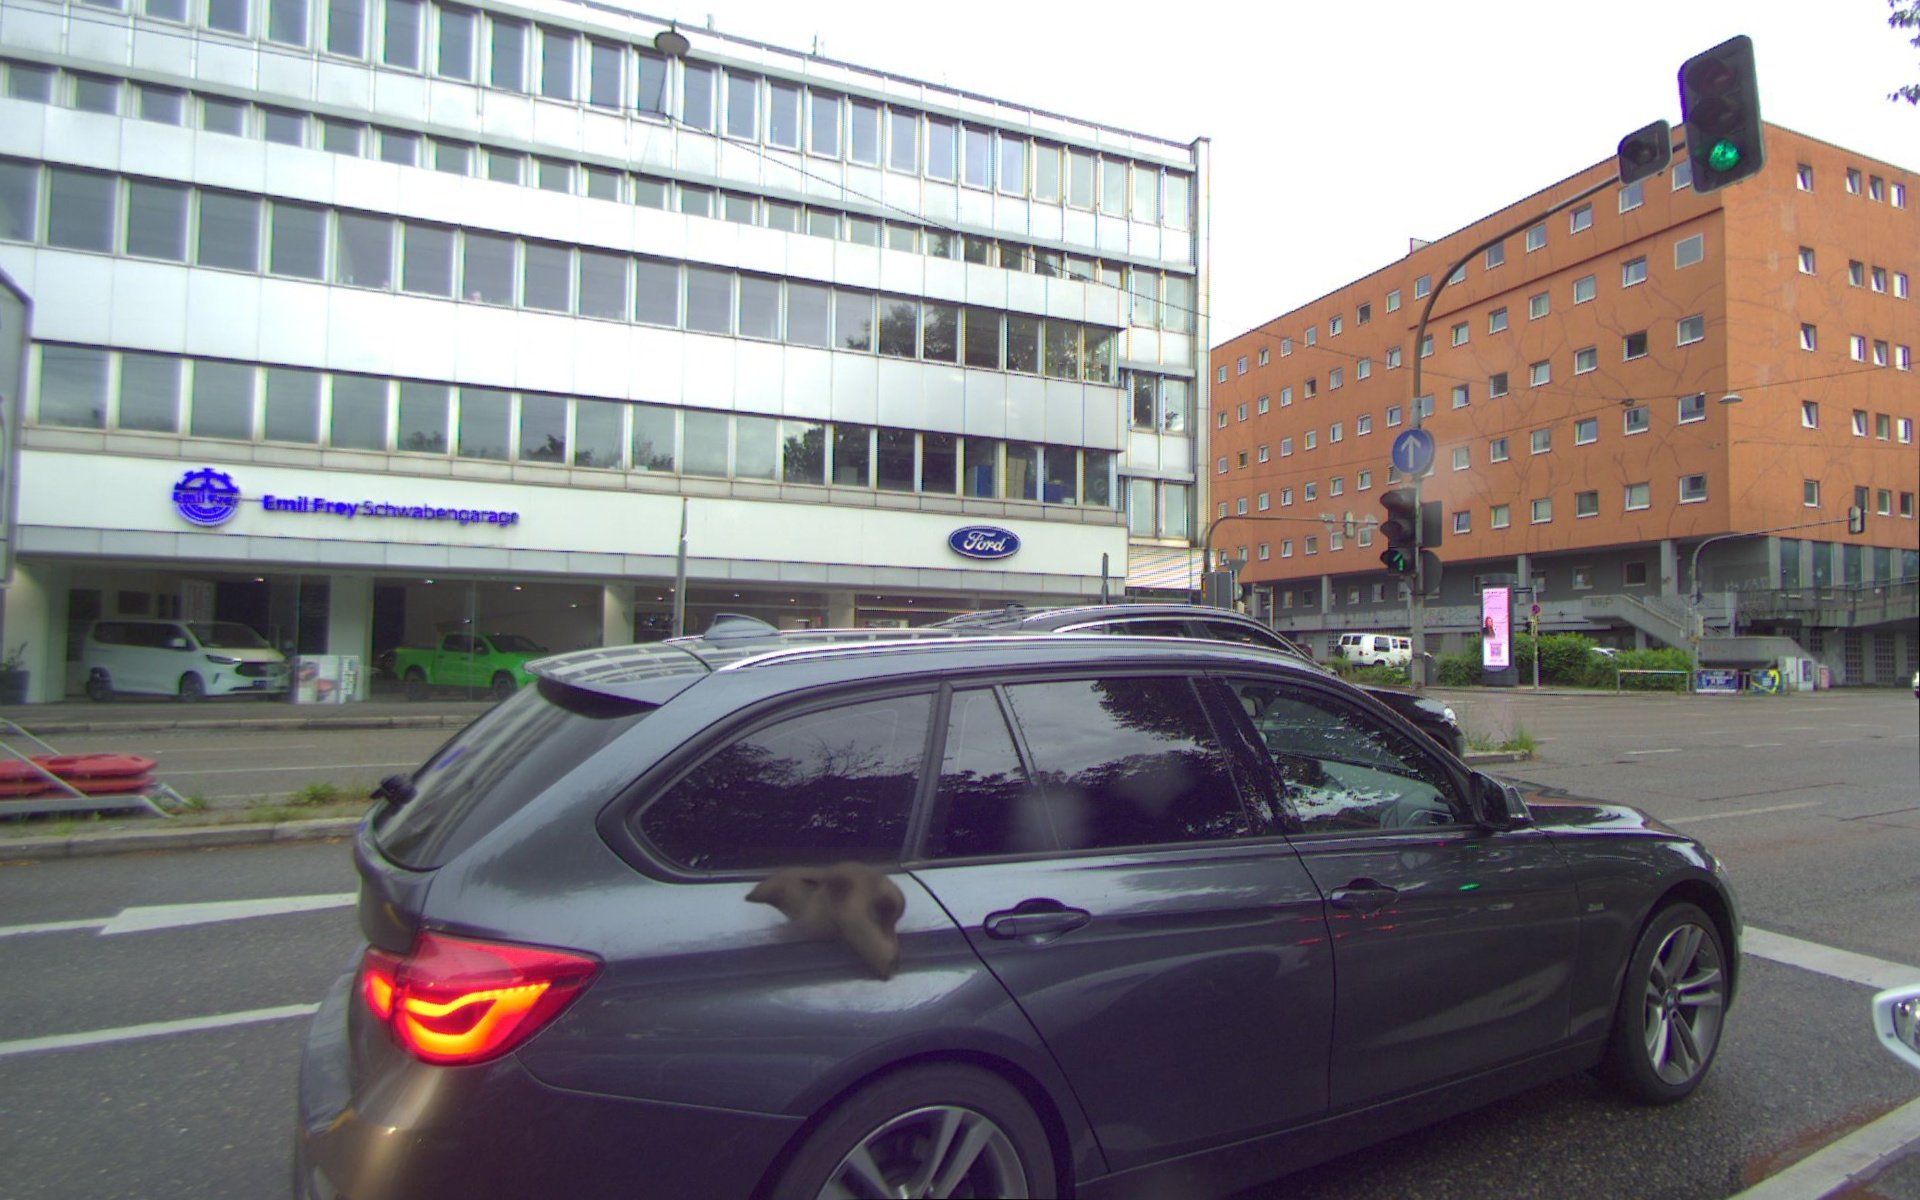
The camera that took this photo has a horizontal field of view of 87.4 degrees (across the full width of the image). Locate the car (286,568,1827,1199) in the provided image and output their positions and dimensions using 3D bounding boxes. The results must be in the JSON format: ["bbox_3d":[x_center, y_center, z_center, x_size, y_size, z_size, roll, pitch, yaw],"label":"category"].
[{"bbox_3d":[0.639,0.805,3.155,4.424,1.477,1.769,2,-3,-30],"label":"car"}]

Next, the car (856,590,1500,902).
[{"bbox_3d":[1.645,0.858,7.235,4.389,1.678,1.802,2,0,-28],"label":"car"}]

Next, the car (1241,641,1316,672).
[{"bbox_3d":[18.663,3.317,58.858,4.028,1.633,1.706,2,0,-23],"label":"car"}]

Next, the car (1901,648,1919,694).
[{"bbox_3d":[36.485,2.615,36.578,4.400,1.631,1.883,2,-3,-28],"label":"car"}]

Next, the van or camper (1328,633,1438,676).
[{"bbox_3d":[21.954,2.838,52.171,5.376,2.003,2.121,2,0,-23],"label":"van or camper"}]

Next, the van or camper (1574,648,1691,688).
[{"bbox_3d":[29.939,3.016,44.826,1.887,1.648,3.978,2,-2,-23],"label":"van or camper"}]
